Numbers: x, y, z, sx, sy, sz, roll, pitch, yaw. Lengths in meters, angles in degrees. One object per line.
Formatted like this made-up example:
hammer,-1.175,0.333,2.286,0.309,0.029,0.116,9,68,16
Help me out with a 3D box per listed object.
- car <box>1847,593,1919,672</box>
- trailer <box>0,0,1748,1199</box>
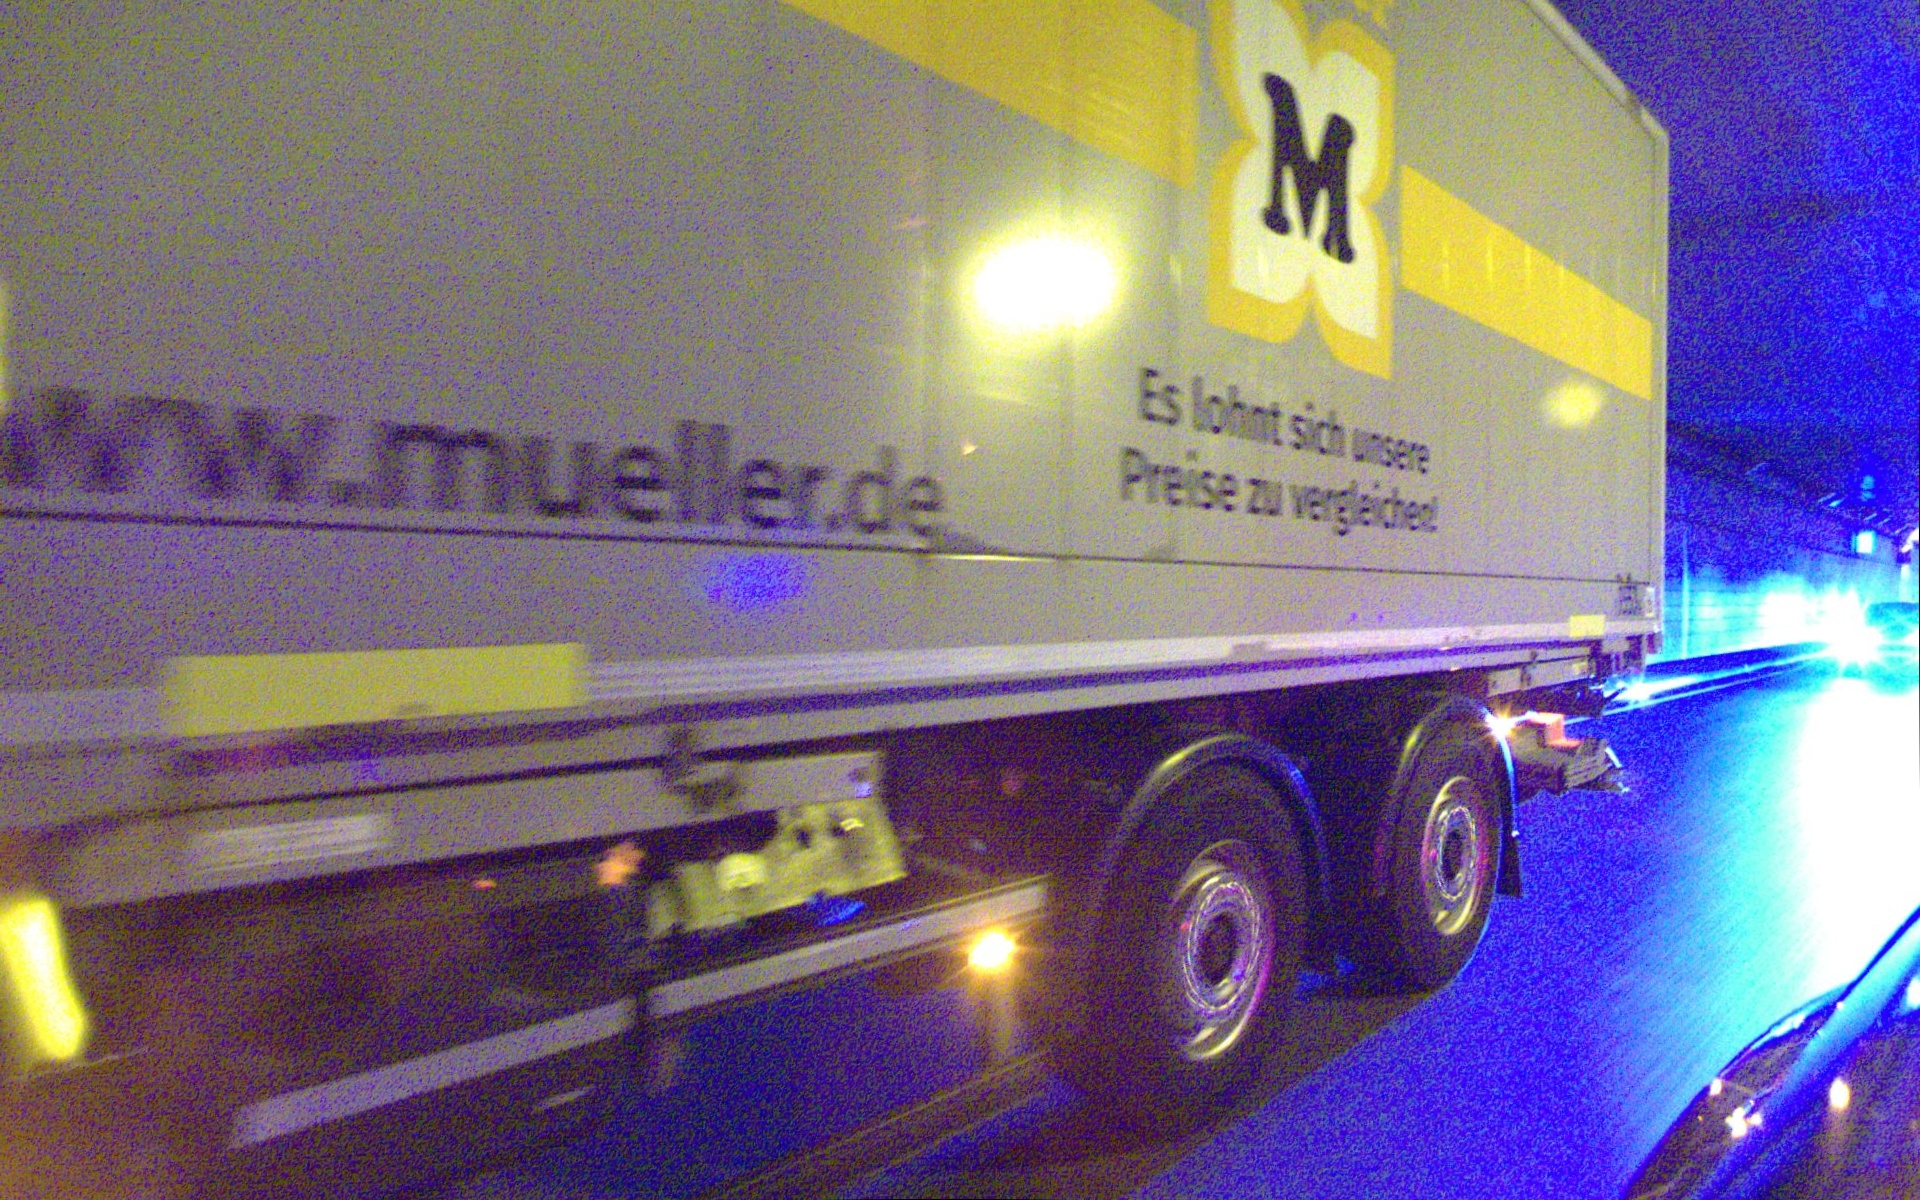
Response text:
car,18.965,0.599,19.946,3.732,1.420,1.733,-1,1,-41
trailer,-0.147,-0.576,3.549,8.791,3.906,2.881,0,1,-41
